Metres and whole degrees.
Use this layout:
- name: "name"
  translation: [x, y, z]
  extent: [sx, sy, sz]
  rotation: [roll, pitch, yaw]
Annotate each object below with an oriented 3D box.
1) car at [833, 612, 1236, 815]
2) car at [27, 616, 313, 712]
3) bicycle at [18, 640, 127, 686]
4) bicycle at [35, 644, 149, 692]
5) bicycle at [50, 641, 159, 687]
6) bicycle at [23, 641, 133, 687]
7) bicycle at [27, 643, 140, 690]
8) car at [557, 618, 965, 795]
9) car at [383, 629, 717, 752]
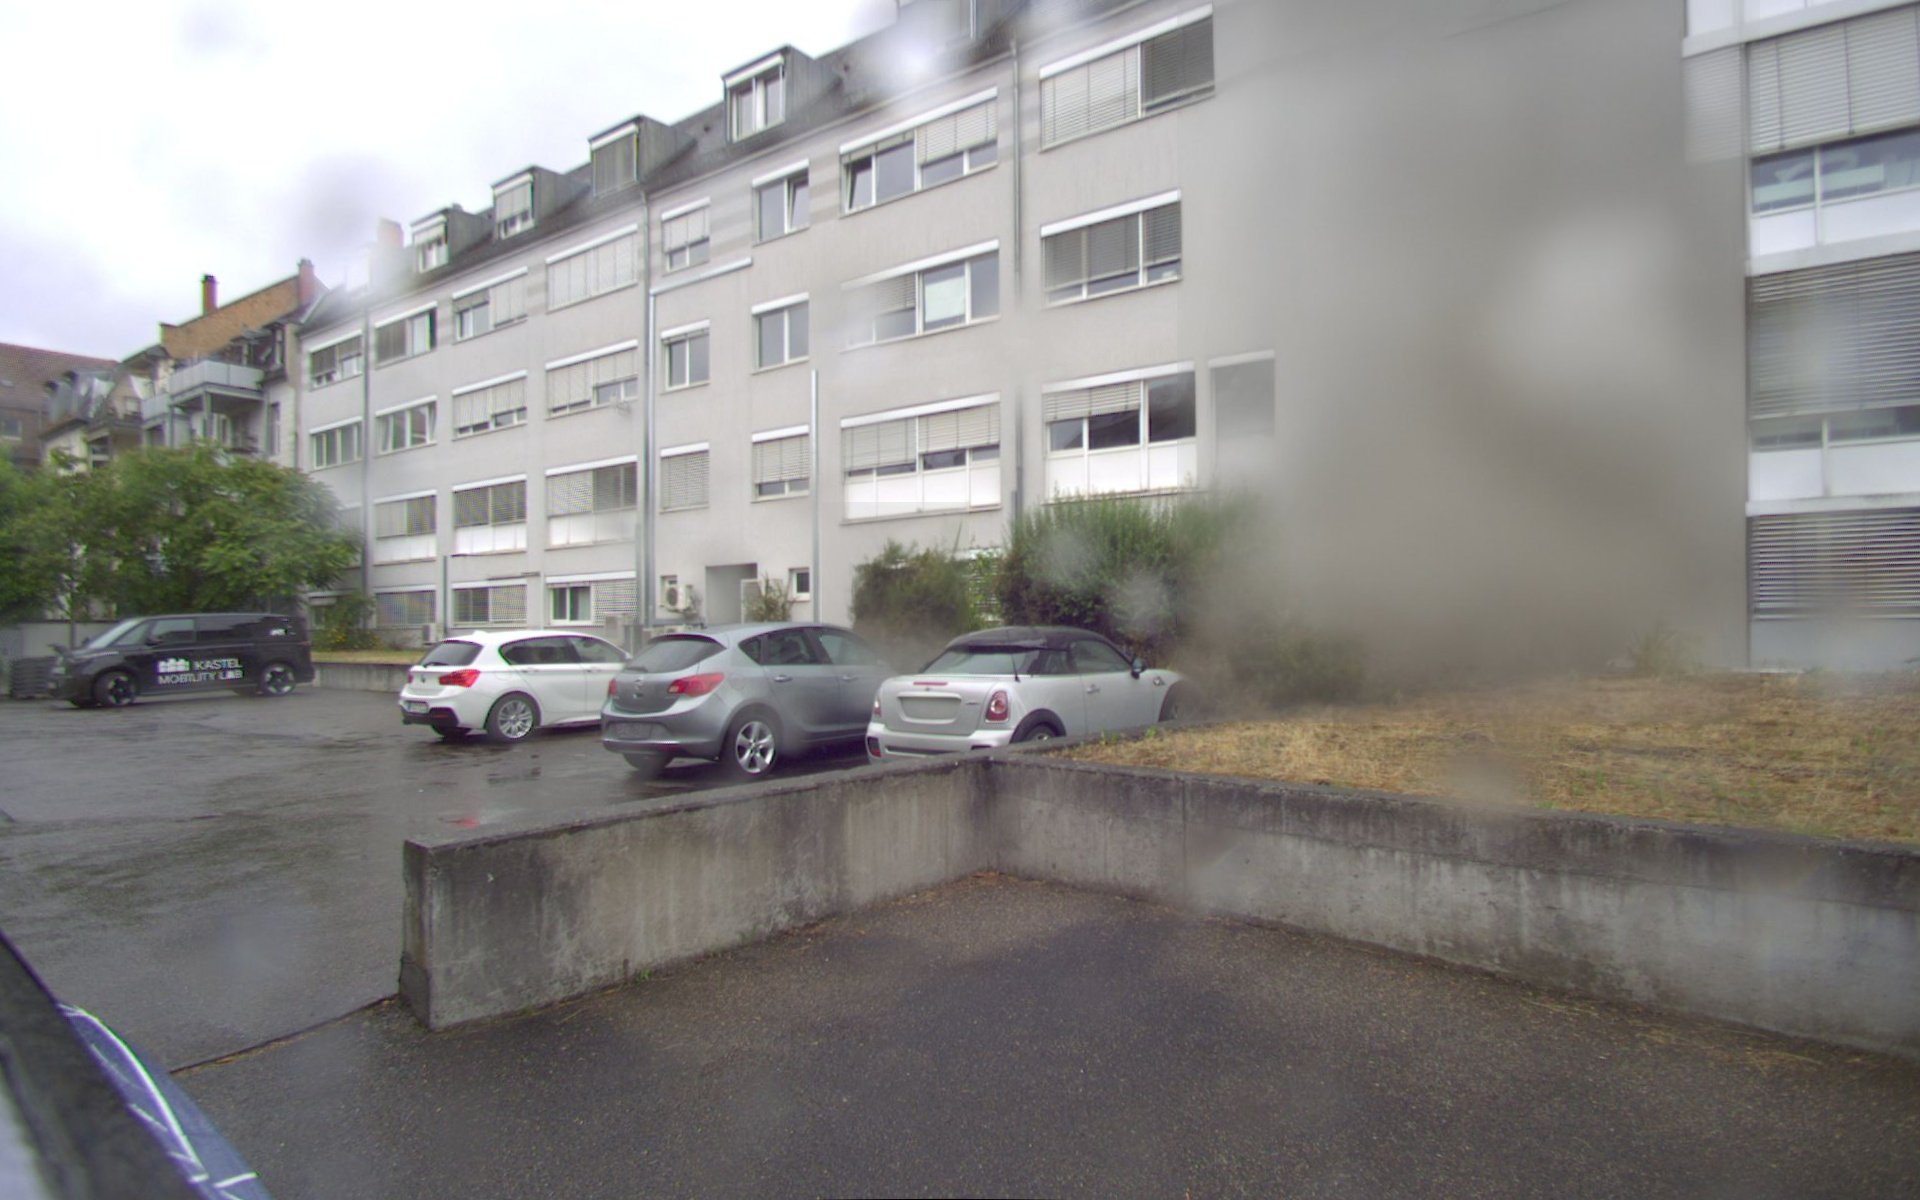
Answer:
- name: "car"
  translation: [0.920, 0.891, 9.648]
  extent: [1.819, 1.343, 4.126]
  rotation: [-3, 0, 38]
- name: "car"
  translation: [-17.138, 1.319, 22.187]
  extent: [1.983, 1.851, 4.578]
  rotation: [-3, -2, 34]
- name: "bicycle"
  translation: [-25.592, 1.792, 29.220]
  extent: [0.643, 1.195, 2.289]
  rotation: [1, 0, 42]
- name: "bicycle"
  translation: [-23.593, 1.824, 27.559]
  extent: [0.643, 1.195, 2.289]
  rotation: [1, 0, 42]
- name: "bicycle"
  translation: [-24.378, 1.811, 28.884]
  extent: [0.643, 1.195, 2.289]
  rotation: [1, 0, 42]
- name: "bicycle"
  translation: [-25.089, 1.800, 28.836]
  extent: [0.643, 1.195, 2.289]
  rotation: [1, 0, 42]
- name: "bicycle"
  translation: [-24.241, 1.813, 28.031]
  extent: [0.643, 1.195, 2.289]
  rotation: [1, 0, 42]
- name: "car"
  translation: [-1.901, 0.966, 10.778]
  extent: [1.819, 1.495, 4.127]
  rotation: [-3, -3, 36]
- name: "car"
  translation: [-5.614, 1.153, 14.337]
  extent: [1.750, 1.444, 4.101]
  rotation: [-1, -2, 36]
